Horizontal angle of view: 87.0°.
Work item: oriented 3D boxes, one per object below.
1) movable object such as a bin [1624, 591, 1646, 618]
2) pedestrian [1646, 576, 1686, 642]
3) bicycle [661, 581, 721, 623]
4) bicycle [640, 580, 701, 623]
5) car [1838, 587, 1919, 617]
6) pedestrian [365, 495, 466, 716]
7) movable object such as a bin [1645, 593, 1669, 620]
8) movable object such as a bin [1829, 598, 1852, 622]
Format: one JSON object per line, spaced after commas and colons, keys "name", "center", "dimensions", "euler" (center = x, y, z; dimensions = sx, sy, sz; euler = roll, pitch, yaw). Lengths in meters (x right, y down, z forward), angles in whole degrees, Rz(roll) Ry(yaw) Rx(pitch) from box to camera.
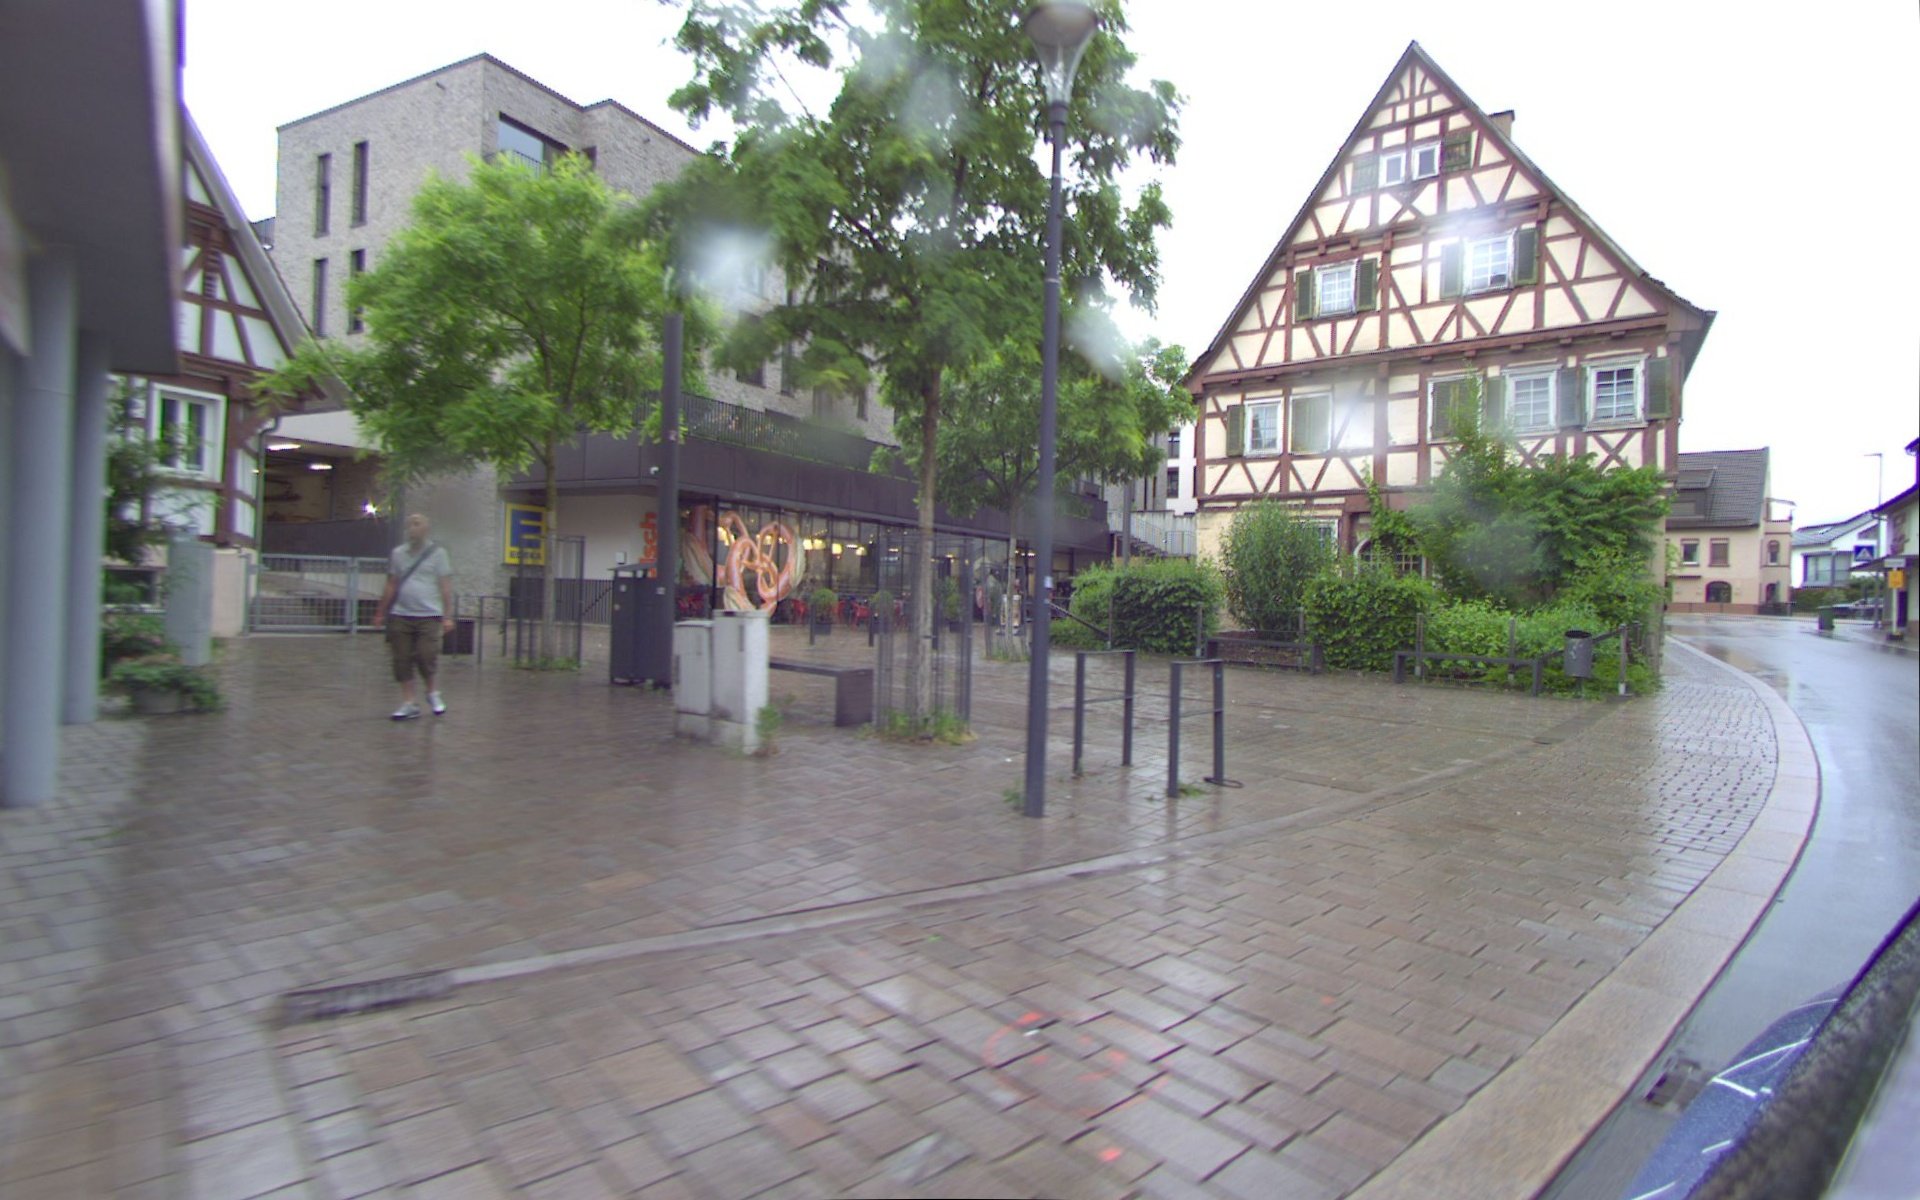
{"name": "movable object such as a bin", "center": [29.918, 0.196, 44.863], "dimensions": [0.762, 1.109, 0.620], "euler": [3, 2, 32]}
{"name": "pedestrian", "center": [21.364, 0.254, 30.653], "dimensions": [0.806, 1.908, 0.898], "euler": [4, 2, 30]}
{"name": "bicycle", "center": [-7.015, 0.039, 26.315], "dimensions": [1.693, 0.981, 0.444], "euler": [4, 2, 32]}
{"name": "bicycle", "center": [-7.391, 0.028, 25.832], "dimensions": [1.693, 0.981, 0.444], "euler": [4, 2, 32]}
{"name": "car", "center": [70.969, 0.154, 78.109], "dimensions": [1.965, 2.038, 4.484], "euler": [1, 3, -41]}
{"name": "pedestrian", "center": [-4.741, 0.033, 8.830], "dimensions": [0.693, 1.806, 0.849], "euler": [2, 2, -28]}
{"name": "movable object such as a bin", "center": [30.397, 0.266, 44.144], "dimensions": [0.762, 1.109, 0.574], "euler": [3, 2, 32]}
{"name": "movable object such as a bin", "center": [41.432, 0.486, 47.616], "dimensions": [0.683, 1.094, 0.753], "euler": [-1, 1, 30]}
